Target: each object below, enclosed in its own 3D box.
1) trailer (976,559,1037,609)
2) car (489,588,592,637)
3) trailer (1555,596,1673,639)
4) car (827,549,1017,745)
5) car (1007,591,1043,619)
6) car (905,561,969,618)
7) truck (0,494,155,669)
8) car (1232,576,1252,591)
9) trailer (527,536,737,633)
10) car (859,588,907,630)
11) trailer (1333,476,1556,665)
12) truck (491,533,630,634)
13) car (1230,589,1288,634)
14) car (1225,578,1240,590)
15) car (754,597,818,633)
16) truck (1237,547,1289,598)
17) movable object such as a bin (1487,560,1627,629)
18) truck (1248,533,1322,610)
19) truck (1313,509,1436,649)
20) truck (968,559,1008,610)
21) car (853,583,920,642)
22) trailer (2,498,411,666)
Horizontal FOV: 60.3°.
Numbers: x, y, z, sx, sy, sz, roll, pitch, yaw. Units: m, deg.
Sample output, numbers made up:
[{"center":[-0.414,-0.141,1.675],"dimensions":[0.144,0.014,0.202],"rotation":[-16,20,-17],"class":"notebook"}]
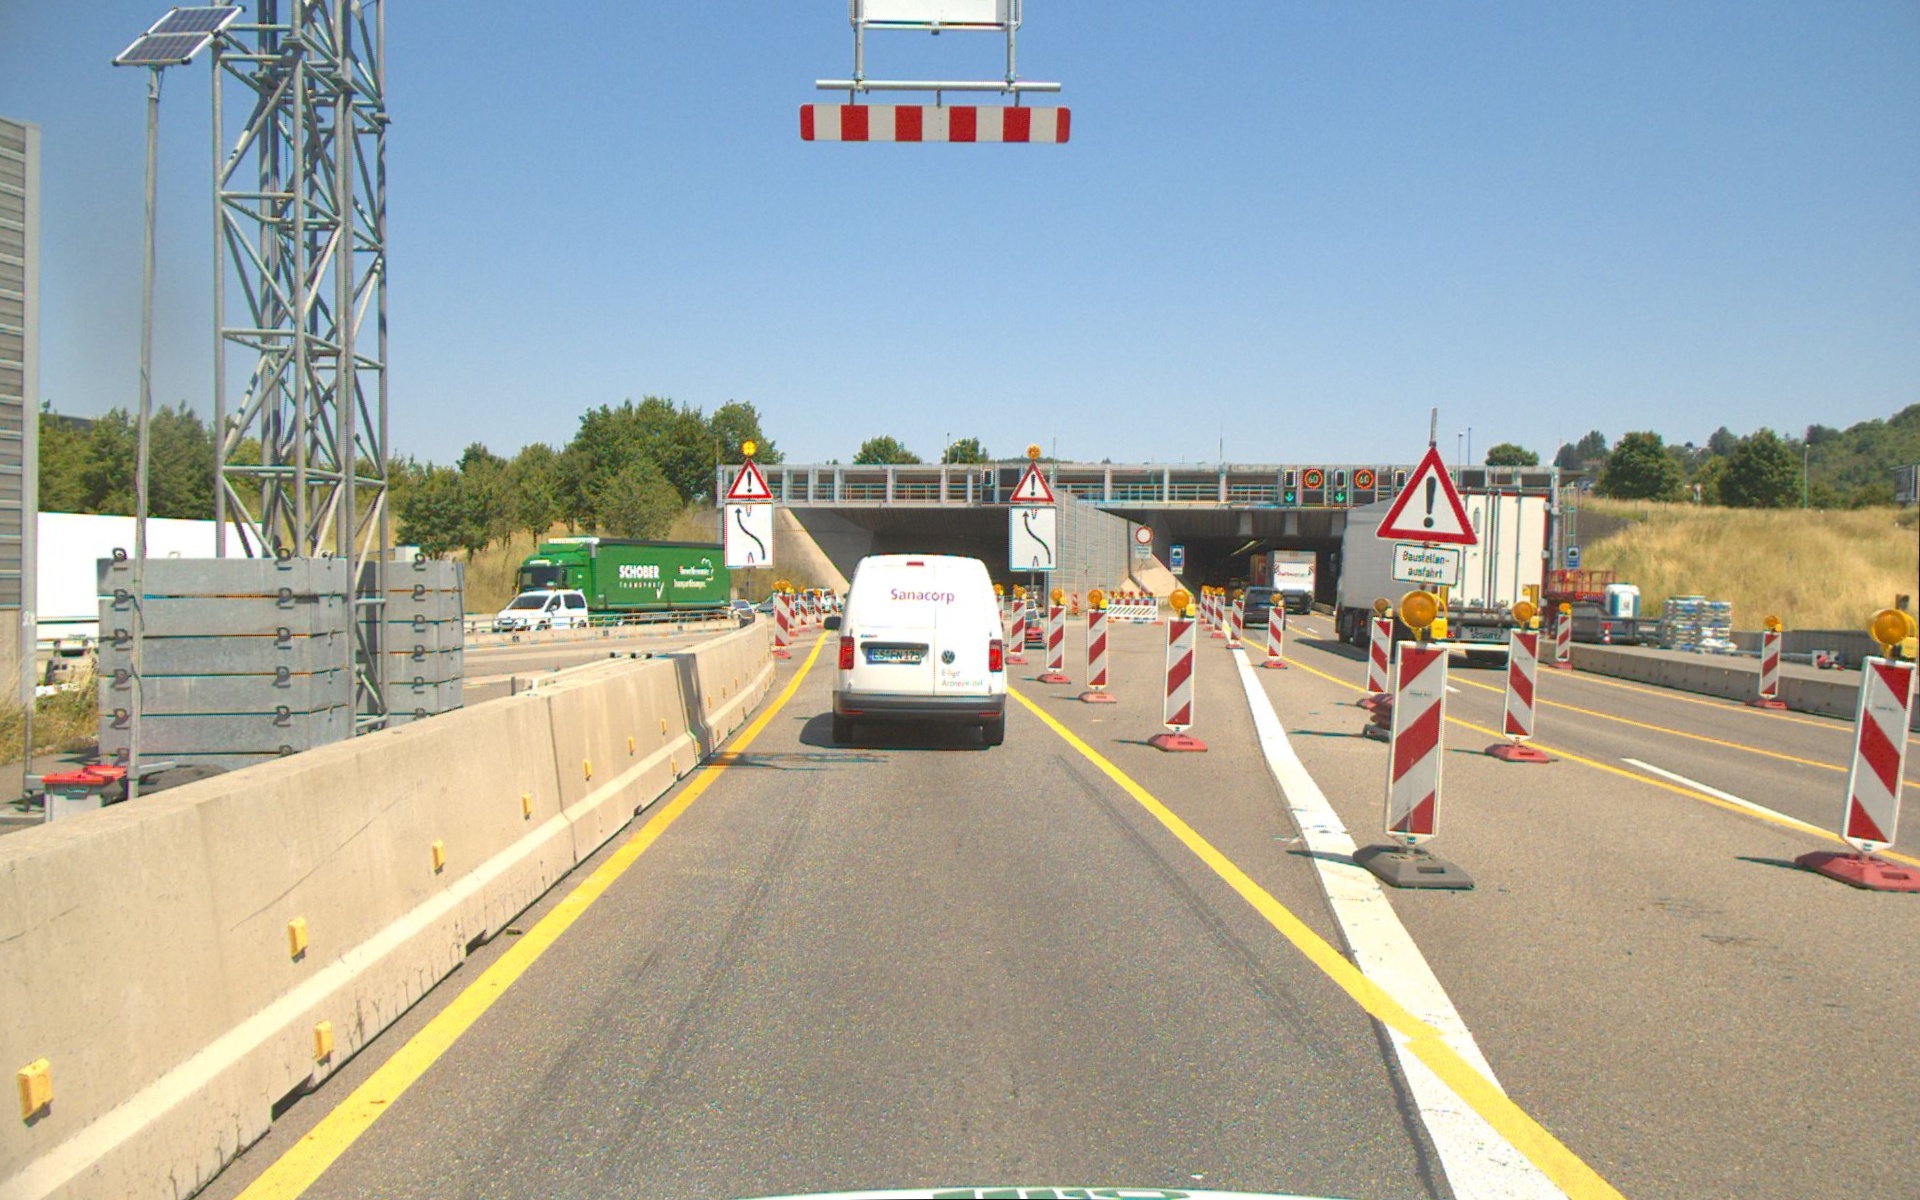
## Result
[{"center":[4.337,-1.422,150.500],"dimensions":[2.384,4.372,13.819],"rotation":[0,0,15],"class":"trailer"},{"center":[-15.021,0.435,59.453],"dimensions":[1.679,1.652,4.173],"rotation":[1,0,16],"class":"car"},{"center":[26.192,0.665,66.531],"dimensions":[2.540,1.596,6.238],"rotation":[-1,0,3],"class":"trailer"},{"center":[-0.426,0.428,17.283],"dimensions":[1.772,1.825,3.729],"rotation":[0,0,-2],"class":"car"},{"center":[4.483,0.333,113.297],"dimensions":[1.912,1.847,4.413],"rotation":[0,0,9],"class":"car"},{"center":[-1.176,-0.494,88.450],"dimensions":[2.755,2.822,7.104],"rotation":[2,0,4],"class":"car"},{"center":[-25.329,-0.528,45.988],"dimensions":[2.608,4.578,4.845],"rotation":[2,0,17],"class":"truck"},{"center":[36.654,-2.143,214.847],"dimensions":[2.282,1.870,4.547],"rotation":[2,0,7],"class":"car"},{"center":[-15.767,-0.684,81.400],"dimensions":[3.472,4.345,13.912],"rotation":[1,0,19],"class":"trailer"},{"center":[-3.412,0.385,73.976],"dimensions":[1.771,1.847,4.411],"rotation":[0,0,3],"class":"car"},{"center":[12.452,-0.662,44.145],"dimensions":[2.675,4.133,14.102],"rotation":[2,0,4],"class":"trailer"},{"center":[-18.000,-0.735,74.950],"dimensions":[3.472,4.345,5.780],"rotation":[1,0,19],"class":"truck"},{"center":[11.919,0.449,66.107],"dimensions":[1.777,1.658,4.192],"rotation":[2,0,4],"class":"car"},{"center":[38.770,-2.262,235.277],"dimensions":[1.776,1.658,4.193],"rotation":[2,0,7],"class":"car"},{"center":[-8.505,0.711,81.033],"dimensions":[1.679,1.652,4.173],"rotation":[0,0,16],"class":"car"},{"center":[26.942,-2.367,147.942],"dimensions":[3.330,4.142,16.548],"rotation":[2,0,7],"class":"truck"},{"center":[28.911,-0.252,80.960],"dimensions":[3.045,3.063,14.712],"rotation":[-1,0,6],"class":"movable object such as a bin"},{"center":[21.300,-1.696,109.196],"dimensions":[3.330,4.411,16.547],"rotation":[2,-1,7],"class":"truck"},{"center":[13.056,-0.646,52.549],"dimensions":[2.687,4.103,5.929],"rotation":[2,0,4],"class":"truck"},{"center":[2.452,-1.347,143.525],"dimensions":[2.380,4.344,4.842],"rotation":[0,0,15],"class":"truck"},{"center":[-2.124,0.329,46.688],"dimensions":[1.773,1.564,4.406],"rotation":[0,0,-4],"class":"car"},{"center":[-23.262,-0.502,52.892],"dimensions":[2.608,4.578,14.938],"rotation":[2,0,17],"class":"trailer"}]
